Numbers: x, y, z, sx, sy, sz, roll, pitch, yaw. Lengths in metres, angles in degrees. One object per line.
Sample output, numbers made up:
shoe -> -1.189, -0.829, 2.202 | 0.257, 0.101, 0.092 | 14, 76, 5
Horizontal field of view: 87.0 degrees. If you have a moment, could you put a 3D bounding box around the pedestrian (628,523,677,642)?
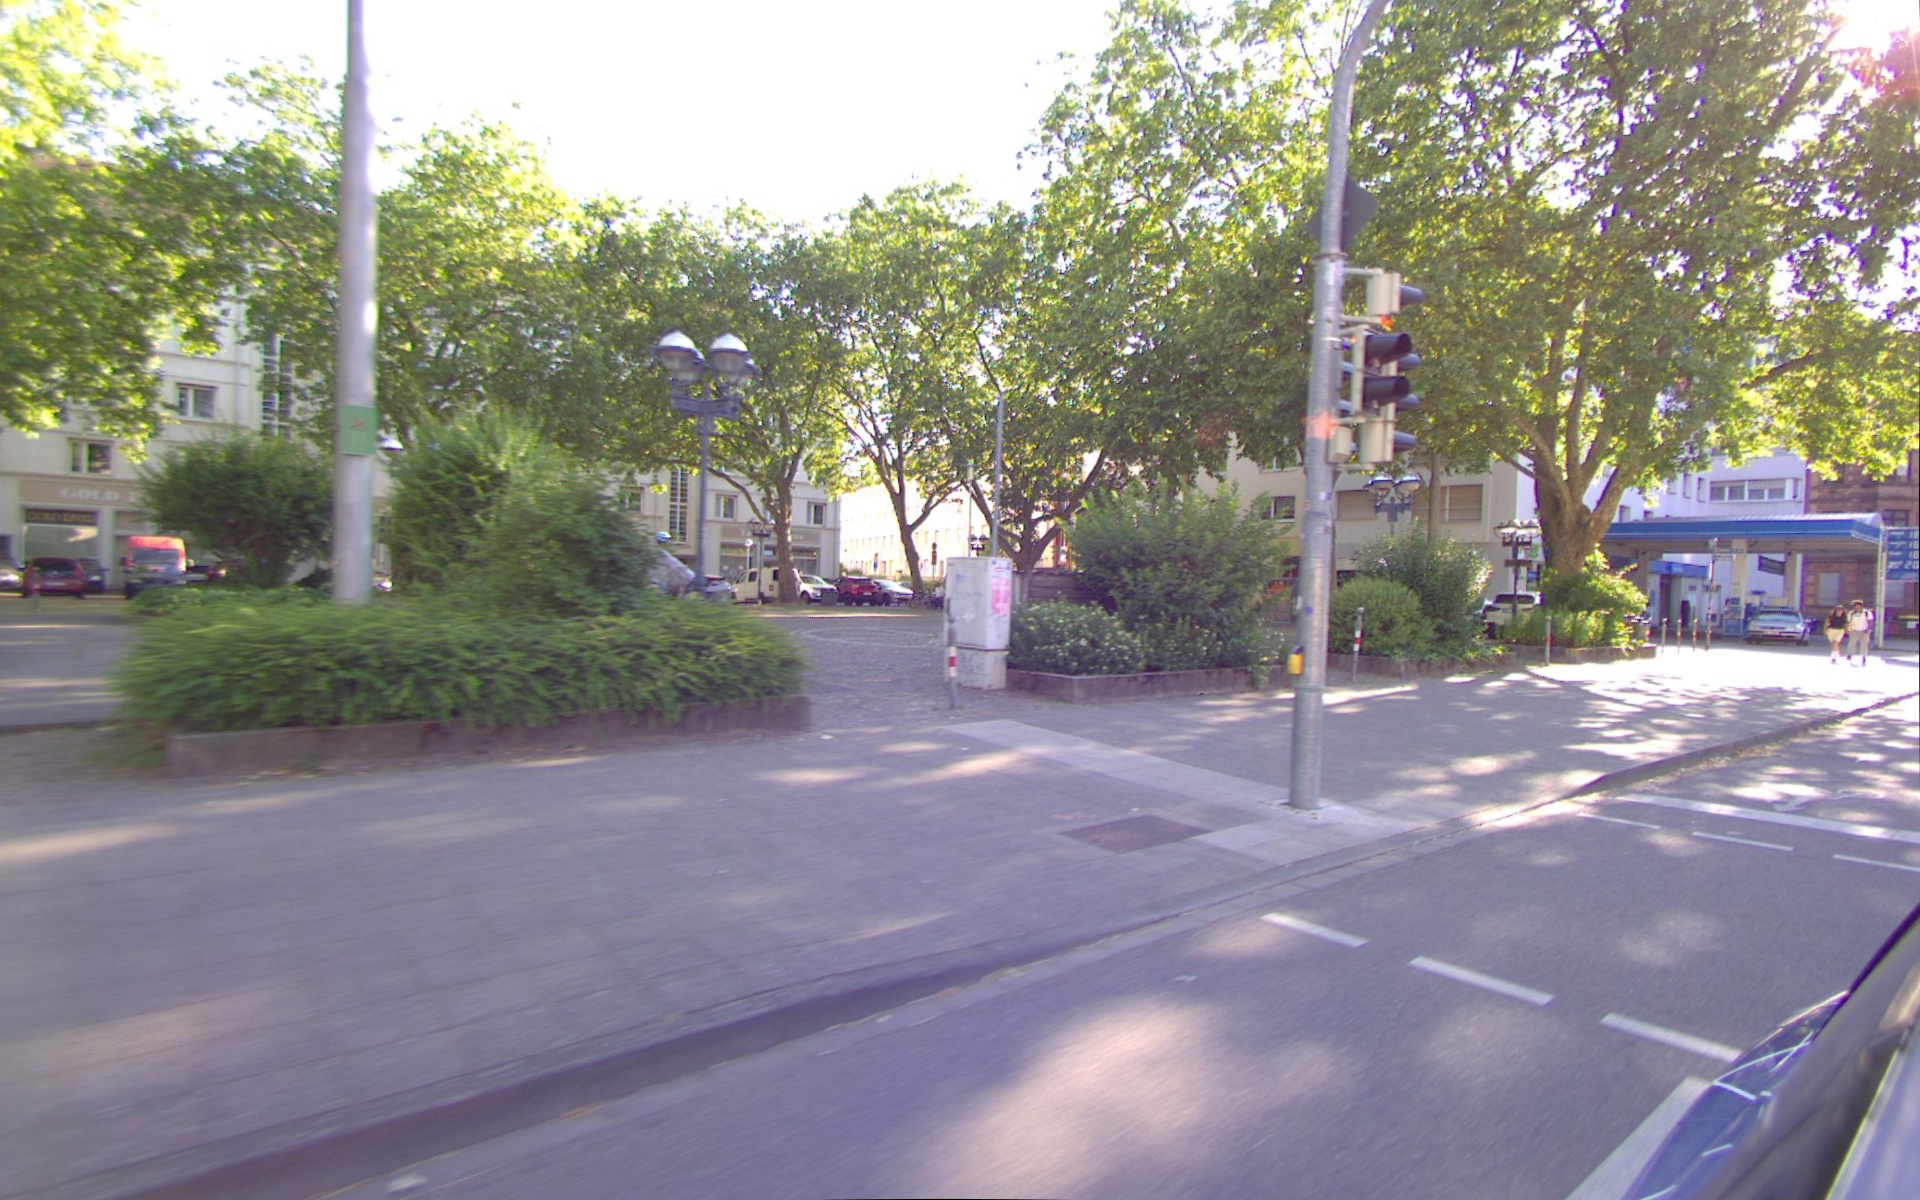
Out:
pedestrian -> -4.739, -0.264, 15.622 | 0.545, 1.808, 0.626 | 0, -1, 2

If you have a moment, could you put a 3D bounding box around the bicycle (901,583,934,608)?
bicycle -> -2.123, -0.222, 50.120 | 1.526, 1.242, 0.632 | 0, -1, -32

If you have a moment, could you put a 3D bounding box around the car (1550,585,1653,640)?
car -> 20.759, 0.409, 32.684 | 4.108, 1.620, 1.804 | 1, 0, -43

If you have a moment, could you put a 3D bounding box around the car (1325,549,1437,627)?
car -> 16.010, -0.428, 38.401 | 4.630, 2.777, 1.998 | 0, 0, -39

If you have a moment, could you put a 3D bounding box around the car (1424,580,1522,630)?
car -> 18.528, 0.186, 36.488 | 4.108, 1.680, 1.804 | 1, 0, -43

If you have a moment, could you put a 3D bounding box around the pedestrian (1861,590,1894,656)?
pedestrian -> 26.387, 0.662, 29.105 | 0.531, 1.867, 0.630 | 1, -1, -41

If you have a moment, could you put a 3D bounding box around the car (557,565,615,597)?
car -> -20.851, -1.062, 56.328 | 1.747, 1.498, 4.351 | 0, 4, -39

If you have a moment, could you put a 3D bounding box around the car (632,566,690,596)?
car -> -17.668, -1.126, 59.702 | 1.747, 1.539, 4.351 | 0, 3, -39

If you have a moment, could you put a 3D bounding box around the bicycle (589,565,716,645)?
bicycle -> -4.617, 0.068, 15.252 | 1.693, 1.178, 0.697 | 0, -1, 8

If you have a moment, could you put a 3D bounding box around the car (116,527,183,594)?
car -> -35.268, -1.769, 44.077 | 2.128, 2.699, 5.066 | 1, 3, -39

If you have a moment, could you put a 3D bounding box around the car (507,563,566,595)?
car -> -22.708, -1.144, 54.168 | 1.747, 1.498, 4.351 | 0, 4, -39

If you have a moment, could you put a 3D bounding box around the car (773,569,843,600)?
car -> -7.980, -0.798, 52.958 | 1.887, 1.541, 3.996 | 0, 0, -39

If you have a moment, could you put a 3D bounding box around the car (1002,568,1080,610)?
car -> 4.268, -0.556, 53.058 | 4.108, 2.053, 1.708 | 1, 0, -43

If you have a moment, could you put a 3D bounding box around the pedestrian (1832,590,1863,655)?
pedestrian -> 25.955, 0.650, 29.601 | 0.531, 1.867, 0.630 | 1, -1, -41

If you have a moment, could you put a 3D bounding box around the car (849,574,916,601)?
car -> -4.335, -0.653, 56.191 | 1.746, 1.426, 3.996 | 0, 0, -39

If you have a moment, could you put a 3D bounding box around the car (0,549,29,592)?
car -> -38.662, -1.215, 40.521 | 1.747, 1.498, 4.351 | 0, 4, -39

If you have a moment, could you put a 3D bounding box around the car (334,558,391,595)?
car -> -28.743, -1.148, 48.621 | 1.747, 1.498, 4.351 | 0, 4, -39

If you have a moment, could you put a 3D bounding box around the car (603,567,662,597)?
car -> -18.647, -1.039, 57.588 | 1.747, 1.498, 4.351 | 0, 4, -39

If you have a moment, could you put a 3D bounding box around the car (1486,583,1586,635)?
car -> 19.773, 0.314, 34.662 | 4.108, 1.680, 1.804 | 1, 0, -43

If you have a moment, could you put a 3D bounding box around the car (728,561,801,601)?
car -> -9.942, -0.910, 51.288 | 2.011, 1.941, 3.996 | 0, 0, -39

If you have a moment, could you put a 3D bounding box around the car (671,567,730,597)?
car -> -15.651, -1.099, 60.881 | 1.747, 1.539, 4.351 | 0, 3, -39

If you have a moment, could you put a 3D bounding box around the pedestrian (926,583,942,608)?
pedestrian -> -1.269, -0.219, 49.867 | 0.625, 1.242, 0.535 | 0, -1, 25

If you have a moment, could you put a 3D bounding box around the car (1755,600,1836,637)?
car -> 31.936, 0.689, 38.646 | 3.687, 1.343, 1.720 | 0, 0, -40

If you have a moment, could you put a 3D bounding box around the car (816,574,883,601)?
car -> -5.979, -0.661, 54.573 | 1.746, 1.426, 3.996 | 0, 0, -39
